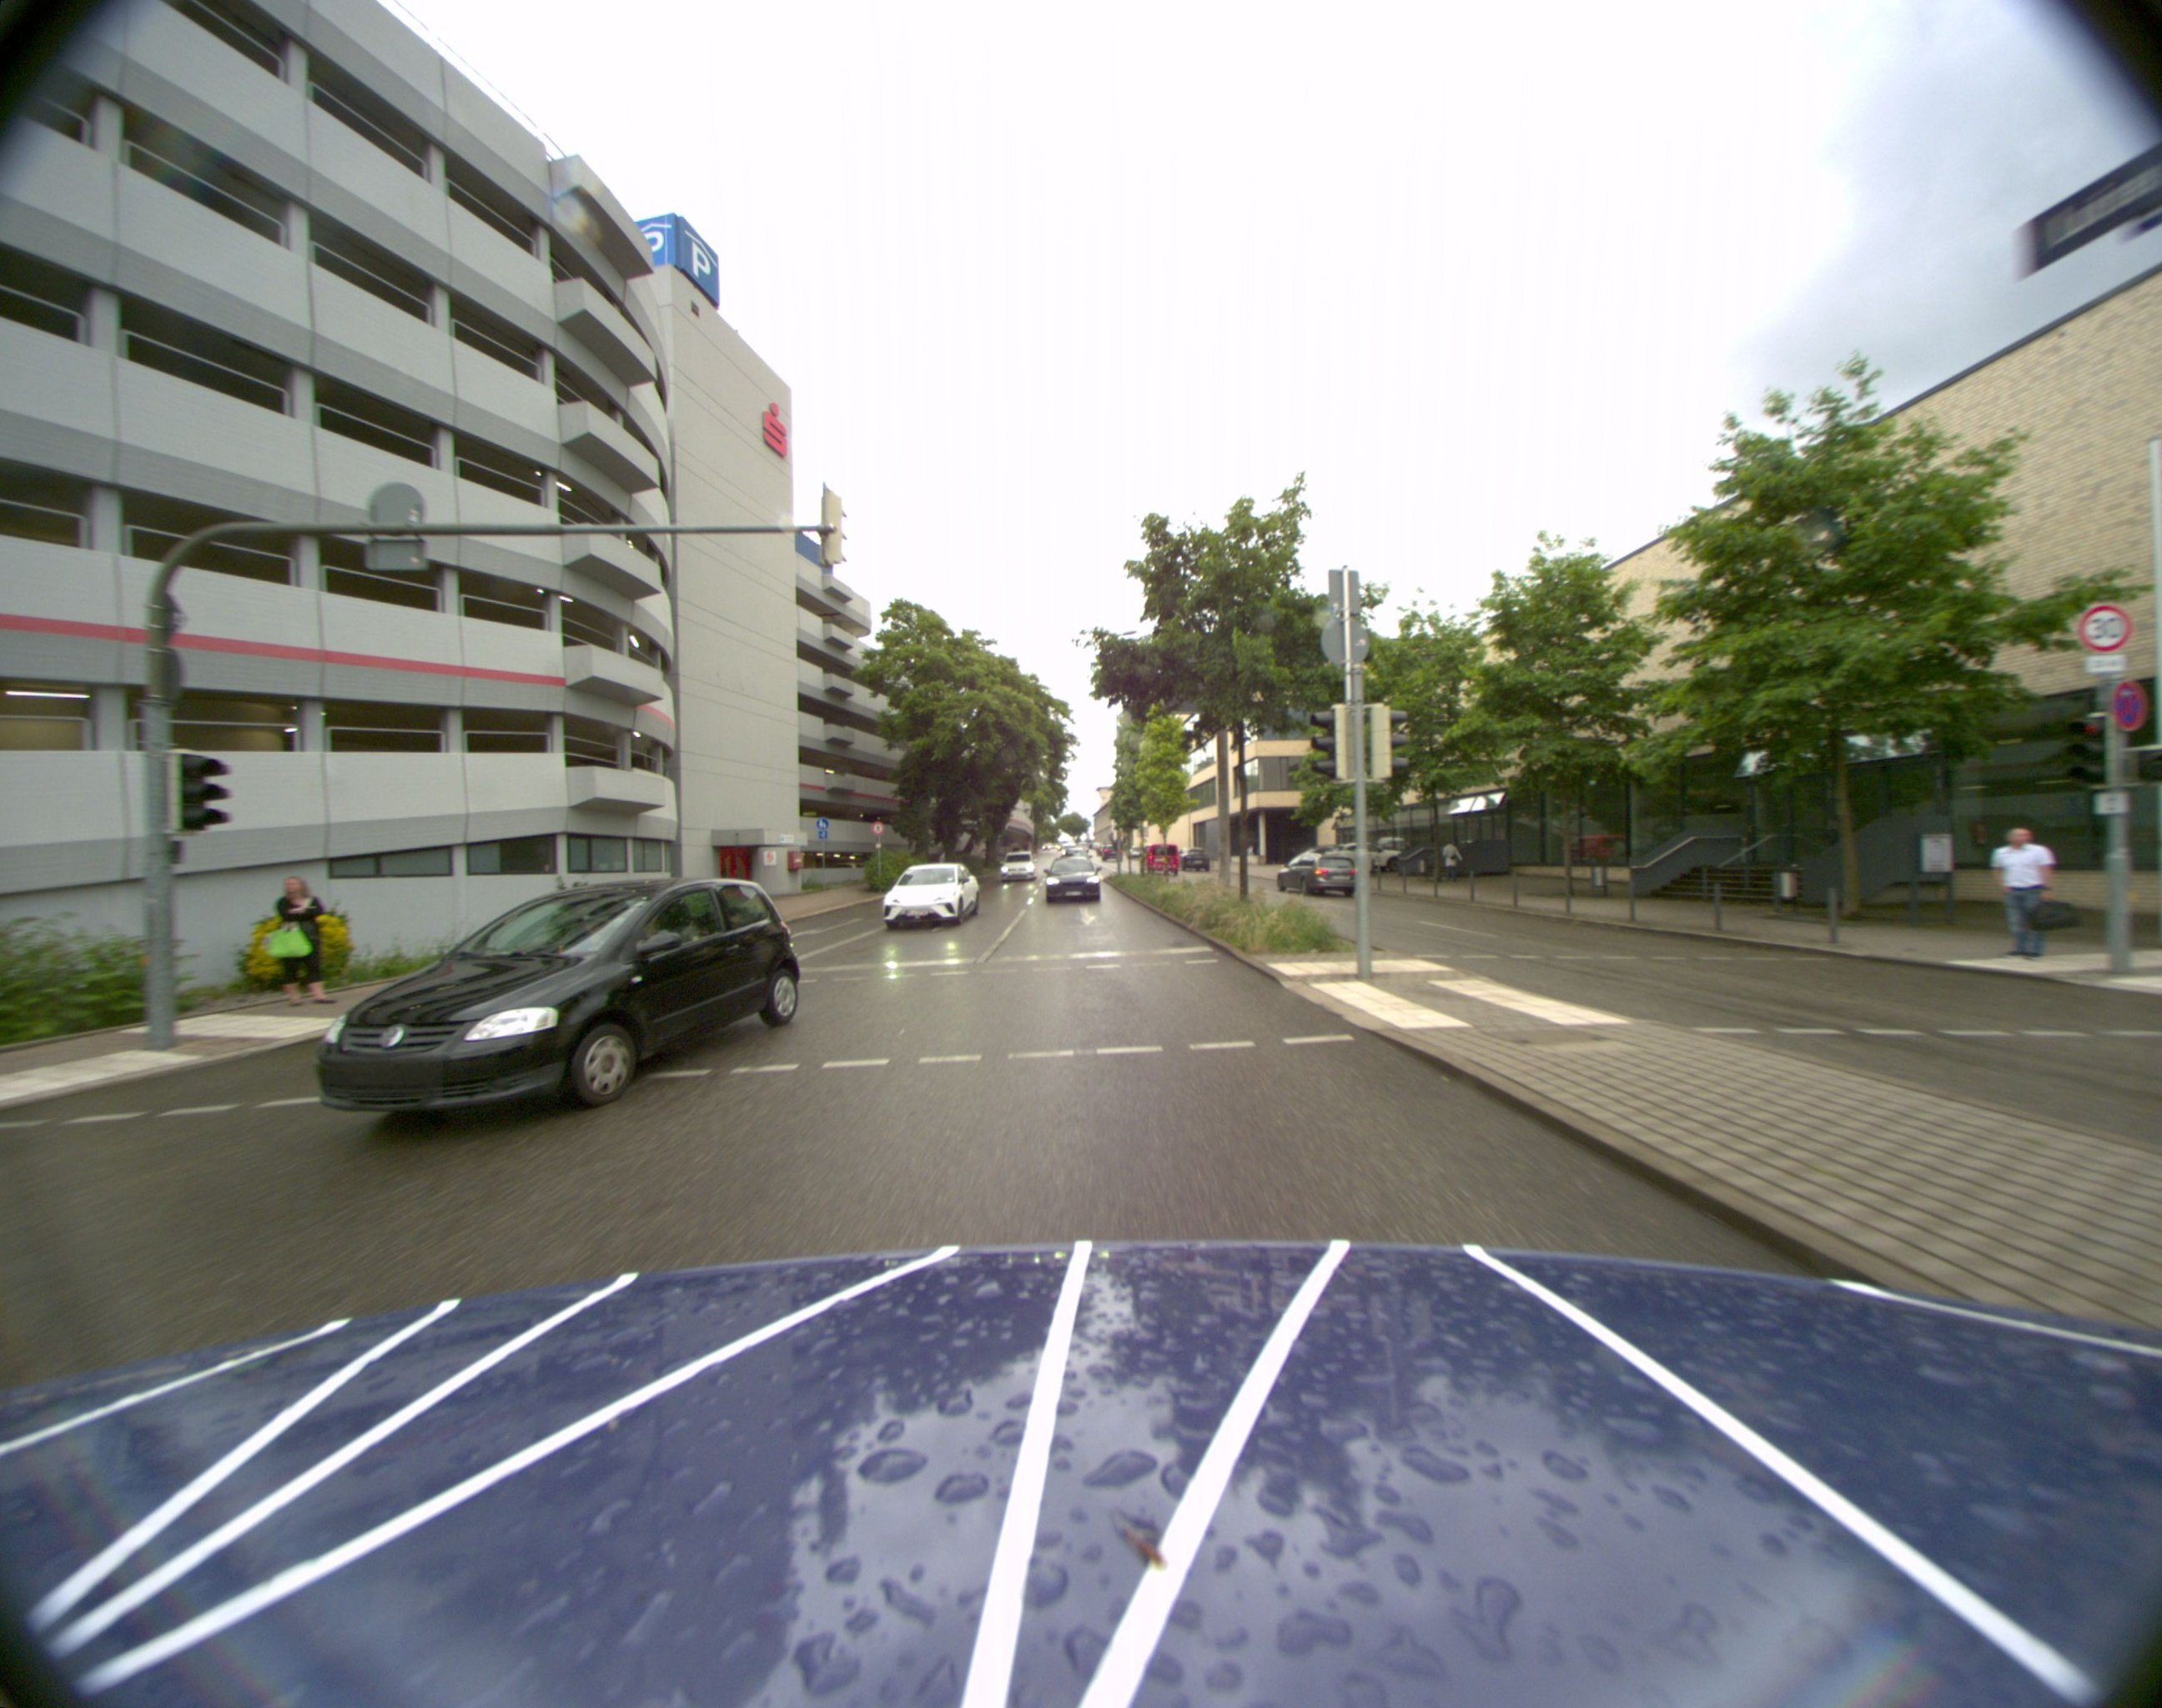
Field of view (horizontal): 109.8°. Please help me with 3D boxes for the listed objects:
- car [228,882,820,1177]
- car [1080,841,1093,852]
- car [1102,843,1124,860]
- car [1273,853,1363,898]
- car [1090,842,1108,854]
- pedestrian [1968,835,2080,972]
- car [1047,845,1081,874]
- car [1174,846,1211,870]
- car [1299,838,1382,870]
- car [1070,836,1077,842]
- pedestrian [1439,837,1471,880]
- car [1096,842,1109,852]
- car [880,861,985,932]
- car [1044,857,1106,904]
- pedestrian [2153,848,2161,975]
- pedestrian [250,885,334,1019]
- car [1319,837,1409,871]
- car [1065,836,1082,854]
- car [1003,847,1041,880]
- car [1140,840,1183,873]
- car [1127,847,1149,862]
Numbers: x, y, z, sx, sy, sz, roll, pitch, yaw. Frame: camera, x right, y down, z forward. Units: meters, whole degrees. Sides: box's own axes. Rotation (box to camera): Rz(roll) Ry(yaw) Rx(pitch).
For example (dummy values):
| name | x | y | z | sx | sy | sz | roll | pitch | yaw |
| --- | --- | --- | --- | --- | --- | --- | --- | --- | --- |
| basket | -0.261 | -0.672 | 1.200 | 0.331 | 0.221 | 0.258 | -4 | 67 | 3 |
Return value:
| name | x | y | z | sx | sy | sz | roll | pitch | yaw |
| --- | --- | --- | --- | --- | --- | --- | --- | --- | --- |
| car | -3.888 | 1.104 | 6.226 | 1.676 | 1.484 | 3.747 | -3 | 0 | 8 |
| car | 0.905 | -1.315 | 131.585 | 1.855 | 1.841 | 4.299 | 1 | 0 | -3 |
| car | 3.143 | -0.227 | 75.400 | 1.676 | 1.598 | 4.299 | 1 | 0 | -3 |
| car | 8.405 | 0.727 | 27.367 | 1.676 | 1.461 | 4.299 | 1 | 0 | -3 |
| car | 2.332 | -0.795 | 101.736 | 2.028 | 1.598 | 4.299 | 2 | 0 | -3 |
| pedestrian | 12.434 | 0.625 | 10.037 | 0.596 | 1.721 | 0.691 | -3 | 1 | -6 |
| car | -1.101 | 0.323 | 47.320 | 1.846 | 1.647 | 3.998 | -3 | 1 | -3 |
| car | 7.618 | 0.265 | 52.367 | 1.676 | 1.598 | 4.299 | 1 | 0 | -3 |
| car | 14.690 | 0.007 | 43.224 | 3.996 | 1.576 | 2.000 | -3 | 1 | 2 |
| car | -2.145 | -4.368 | 220.844 | 1.855 | 1.713 | 4.299 | 2 | 0 | -3 |
| pedestrian | 14.840 | 0.172 | 30.159 | 0.804 | 1.638 | 0.976 | -3 | 1 | 5 |
| car | 3.811 | -1.150 | 135.012 | 1.855 | 1.713 | 4.299 | 2 | 0 | -3 |
| car | -3.703 | 1.004 | 19.683 | 1.805 | 1.469 | 4.209 | -3 | 0 | 0 |
| car | -0.293 | 0.840 | 26.267 | 1.739 | 1.380 | 4.580 | -3 | 1 | -4 |
| pedestrian | 13.124 | 0.674 | 8.735 | 0.595 | 1.508 | 0.692 | -3 | 1 | -3 |
| pedestrian | -10.341 | 1.261 | 9.972 | 0.584 | 1.650 | 0.519 | 2 | 2 | 16 |
| car | 15.058 | 0.009 | 40.606 | 3.996 | 1.576 | 2.000 | -3 | 1 | 2 |
| car | -0.842 | -0.964 | 84.799 | 1.805 | 1.818 | 3.949 | -3 | 0 | 0 |
| car | -3.285 | 0.549 | 43.070 | 1.999 | 1.716 | 4.399 | -1 | -1 | -2 |
| car | 4.718 | 0.156 | 45.171 | 1.855 | 1.841 | 4.299 | 1 | 0 | -3 |
| car | 6.236 | 0.053 | 83.682 | 1.776 | 1.598 | 4.299 | 2 | 0 | -3 |
